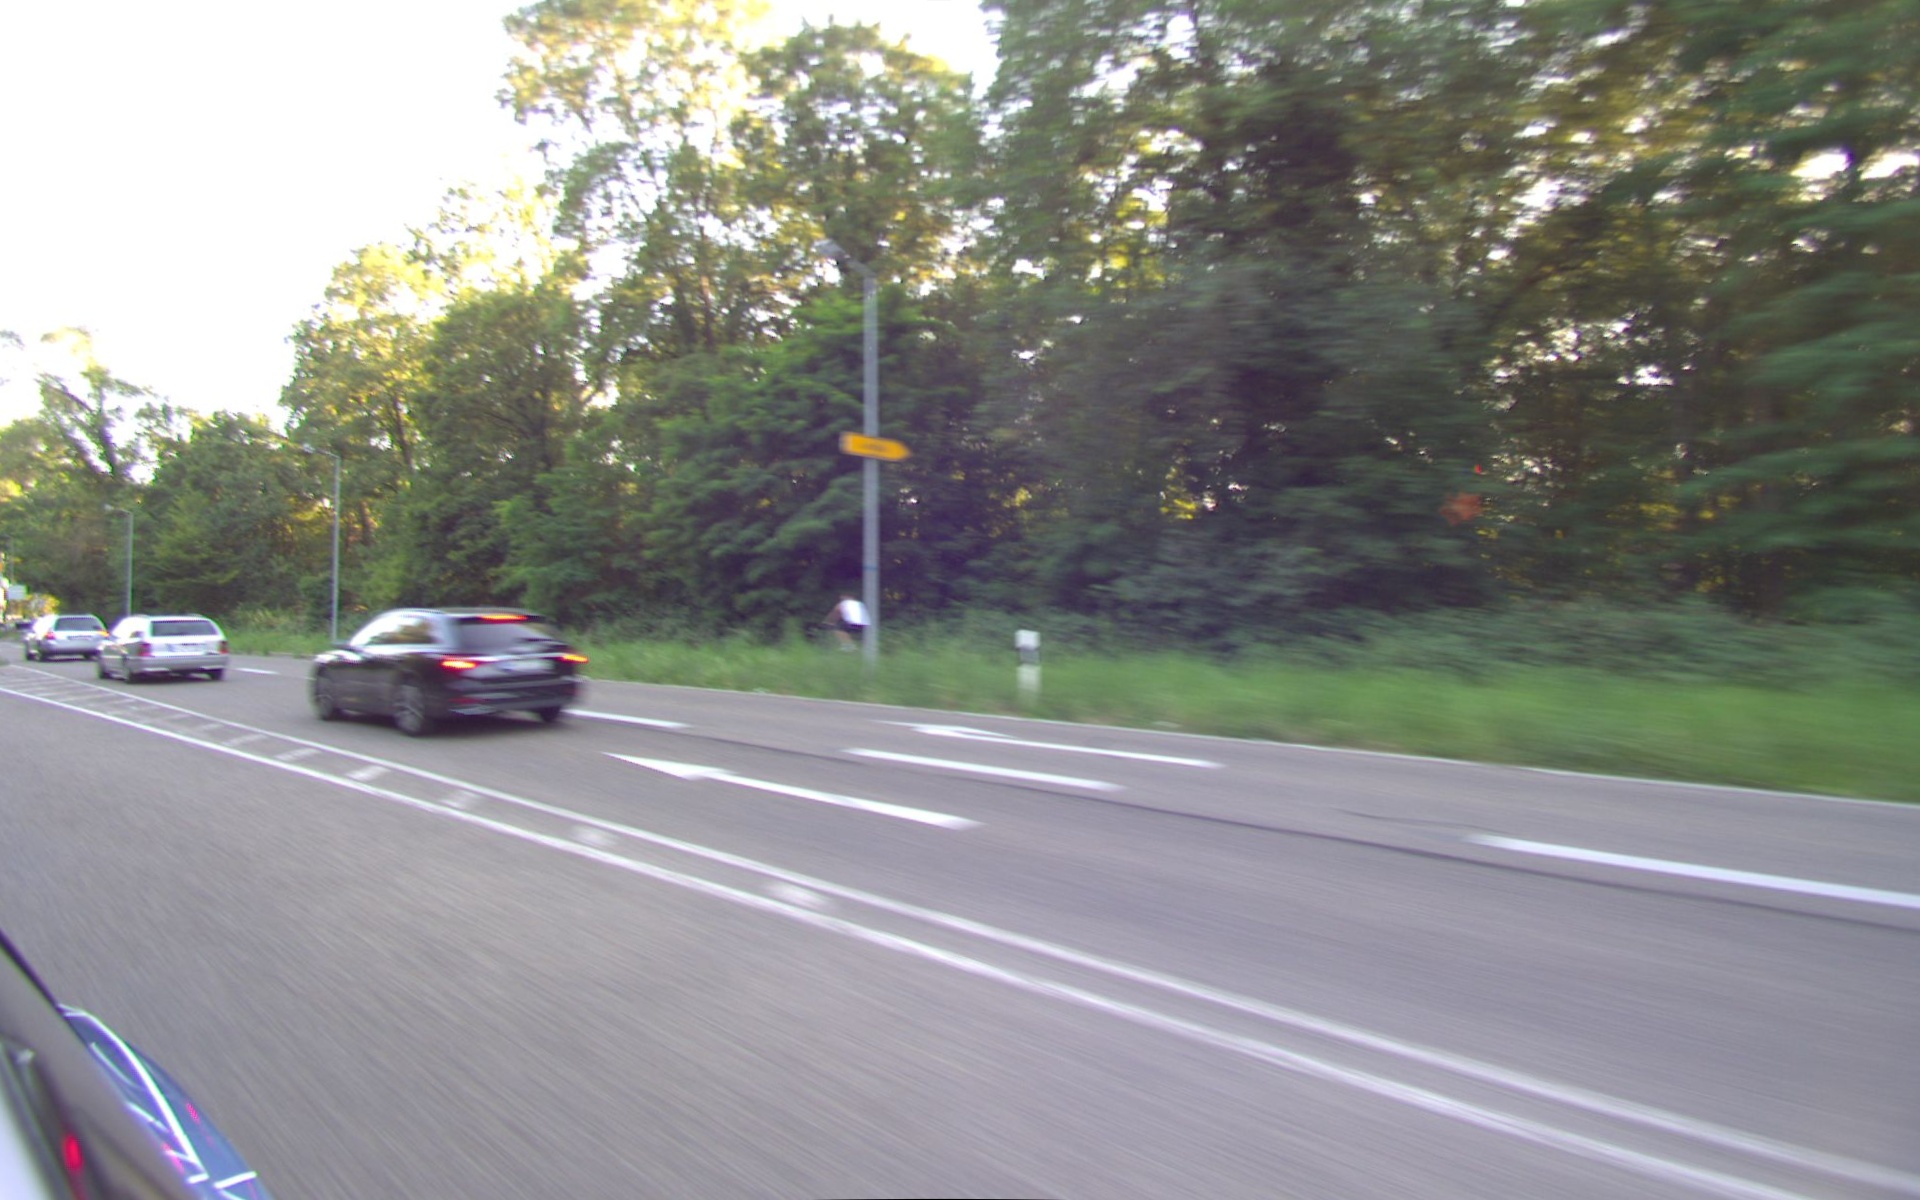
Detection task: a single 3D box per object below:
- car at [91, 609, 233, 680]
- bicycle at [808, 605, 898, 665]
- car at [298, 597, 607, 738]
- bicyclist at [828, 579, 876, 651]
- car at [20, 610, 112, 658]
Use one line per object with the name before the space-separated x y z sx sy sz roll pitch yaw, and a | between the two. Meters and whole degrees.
car | -17.544 0.925 22.183 4.373 1.408 1.702 -1 -1 42
bicycle | -2.339 0.745 21.875 2.261 1.227 0.623 -2 -2 43
car | -6.620 0.737 12.940 4.767 1.451 1.872 -1 0 41
bicyclist | -2.334 0.335 21.893 0.847 1.523 0.613 -3 -3 43
car | -28.910 1.069 32.684 4.171 1.457 1.698 -1 -1 41
